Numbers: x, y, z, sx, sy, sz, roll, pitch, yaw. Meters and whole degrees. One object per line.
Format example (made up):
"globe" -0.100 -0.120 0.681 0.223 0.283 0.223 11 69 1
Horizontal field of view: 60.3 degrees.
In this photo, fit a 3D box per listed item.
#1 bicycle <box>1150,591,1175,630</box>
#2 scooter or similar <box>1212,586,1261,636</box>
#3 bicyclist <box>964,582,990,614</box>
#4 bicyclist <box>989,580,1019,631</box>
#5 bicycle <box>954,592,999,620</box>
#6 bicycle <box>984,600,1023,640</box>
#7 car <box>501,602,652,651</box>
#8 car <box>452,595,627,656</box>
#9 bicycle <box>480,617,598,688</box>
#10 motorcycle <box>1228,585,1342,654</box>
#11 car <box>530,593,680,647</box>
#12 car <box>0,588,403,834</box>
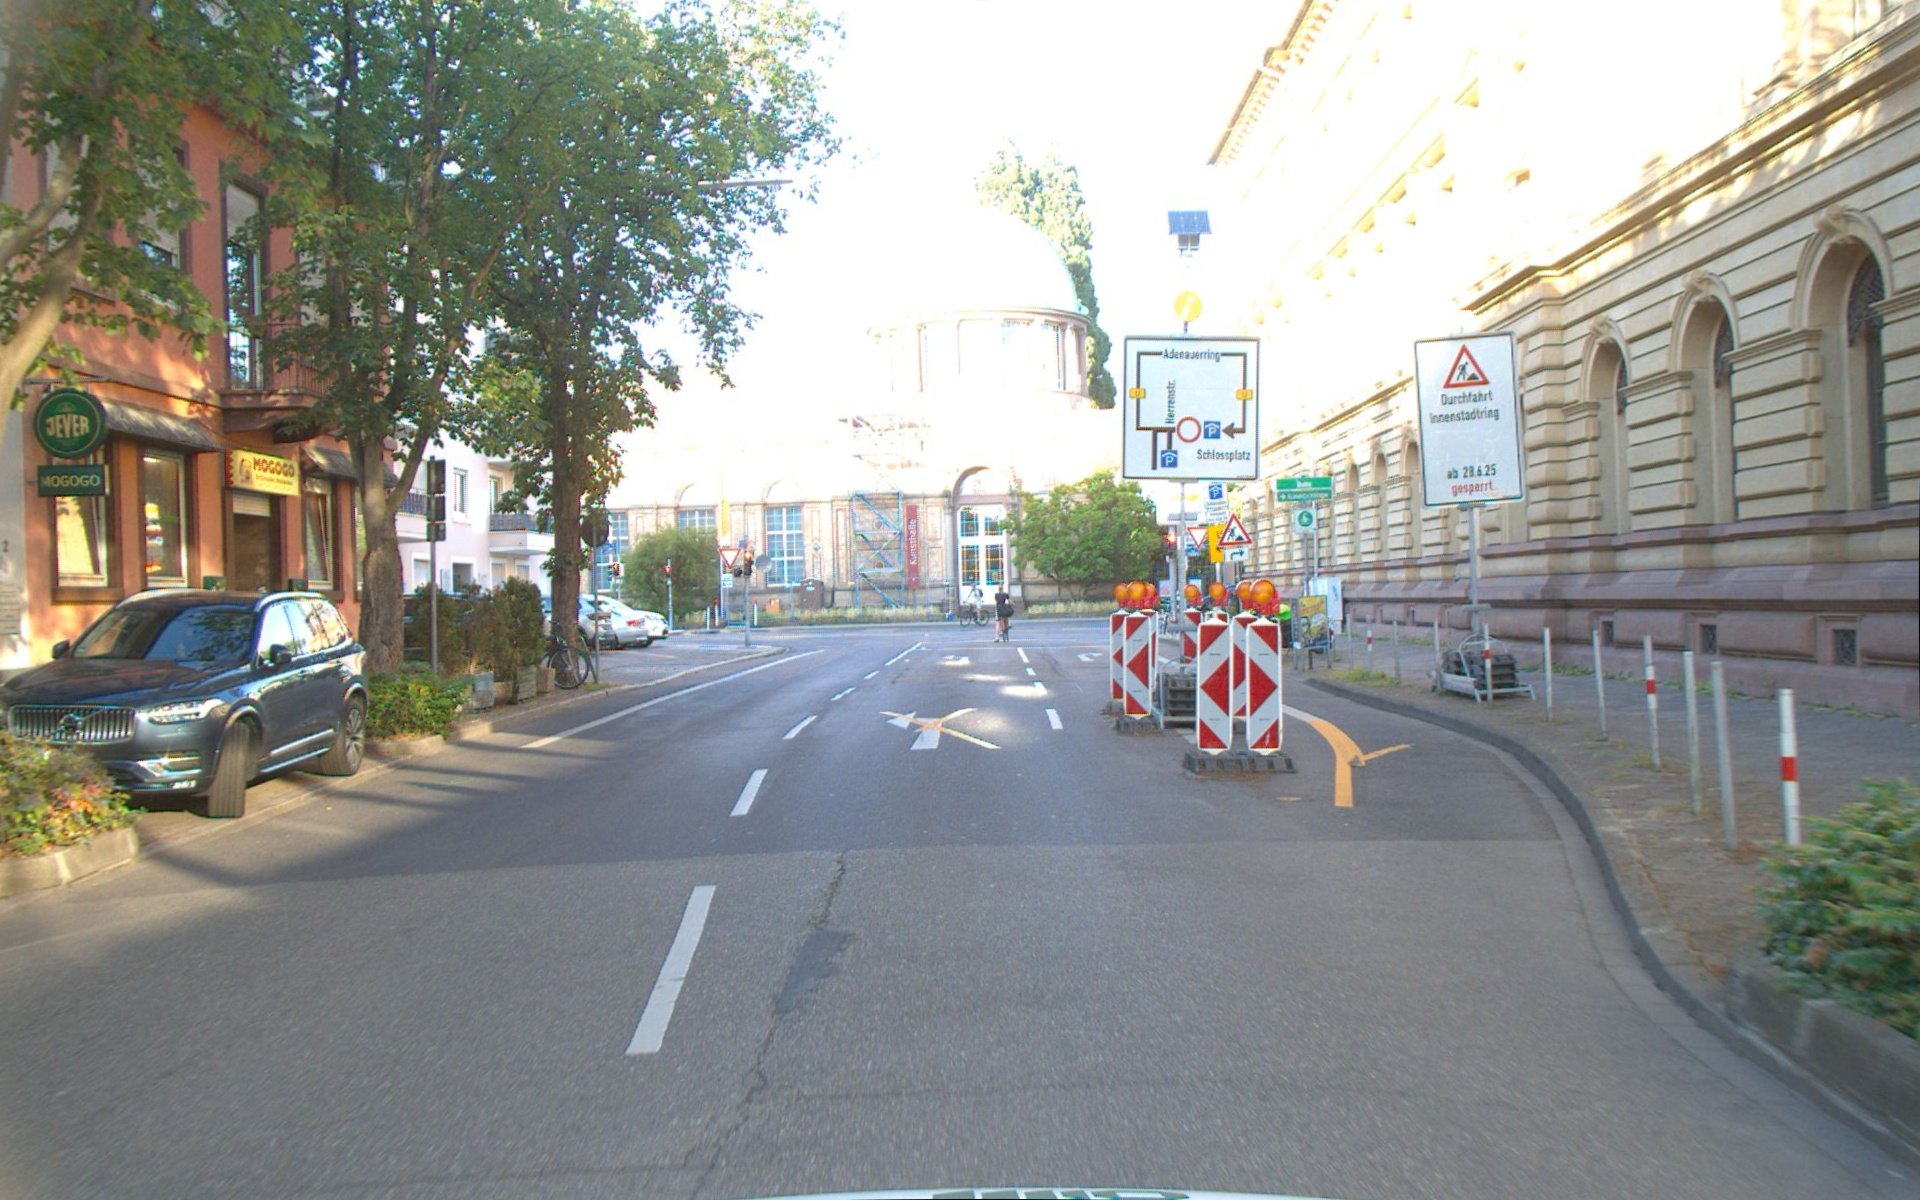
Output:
"bicycle" 6.458 0.345 52.730 0.570 1.209 1.920 -2 -1 1
"scooter or similar" 7.225 0.282 43.265 1.106 1.216 0.584 -4 -1 19
"bicyclist" 0.757 -0.092 71.977 0.920 1.388 0.618 -1 -2 -39
"bicyclist" 1.365 0.182 51.038 0.701 1.529 0.851 -2 -2 15
"bicycle" 0.721 0.269 71.925 2.033 1.176 0.618 -1 -2 -40
"bicycle" 1.360 0.621 50.980 0.696 1.176 2.070 -2 -1 15
"car" -11.561 0.788 50.040 4.179 1.404 1.736 0 0 -1
"car" -11.560 0.684 45.631 4.328 1.633 1.916 0 0 -1
"bicycle" -7.125 0.886 28.024 1.830 1.123 0.610 -2 0 -6
"motorcycle" 6.509 0.388 33.193 2.059 1.236 0.709 -4 0 31
"car" -11.294 0.629 52.770 4.349 1.669 1.942 0 0 -1
"car" -6.576 0.834 14.851 1.792 1.790 5.043 2 0 -5
